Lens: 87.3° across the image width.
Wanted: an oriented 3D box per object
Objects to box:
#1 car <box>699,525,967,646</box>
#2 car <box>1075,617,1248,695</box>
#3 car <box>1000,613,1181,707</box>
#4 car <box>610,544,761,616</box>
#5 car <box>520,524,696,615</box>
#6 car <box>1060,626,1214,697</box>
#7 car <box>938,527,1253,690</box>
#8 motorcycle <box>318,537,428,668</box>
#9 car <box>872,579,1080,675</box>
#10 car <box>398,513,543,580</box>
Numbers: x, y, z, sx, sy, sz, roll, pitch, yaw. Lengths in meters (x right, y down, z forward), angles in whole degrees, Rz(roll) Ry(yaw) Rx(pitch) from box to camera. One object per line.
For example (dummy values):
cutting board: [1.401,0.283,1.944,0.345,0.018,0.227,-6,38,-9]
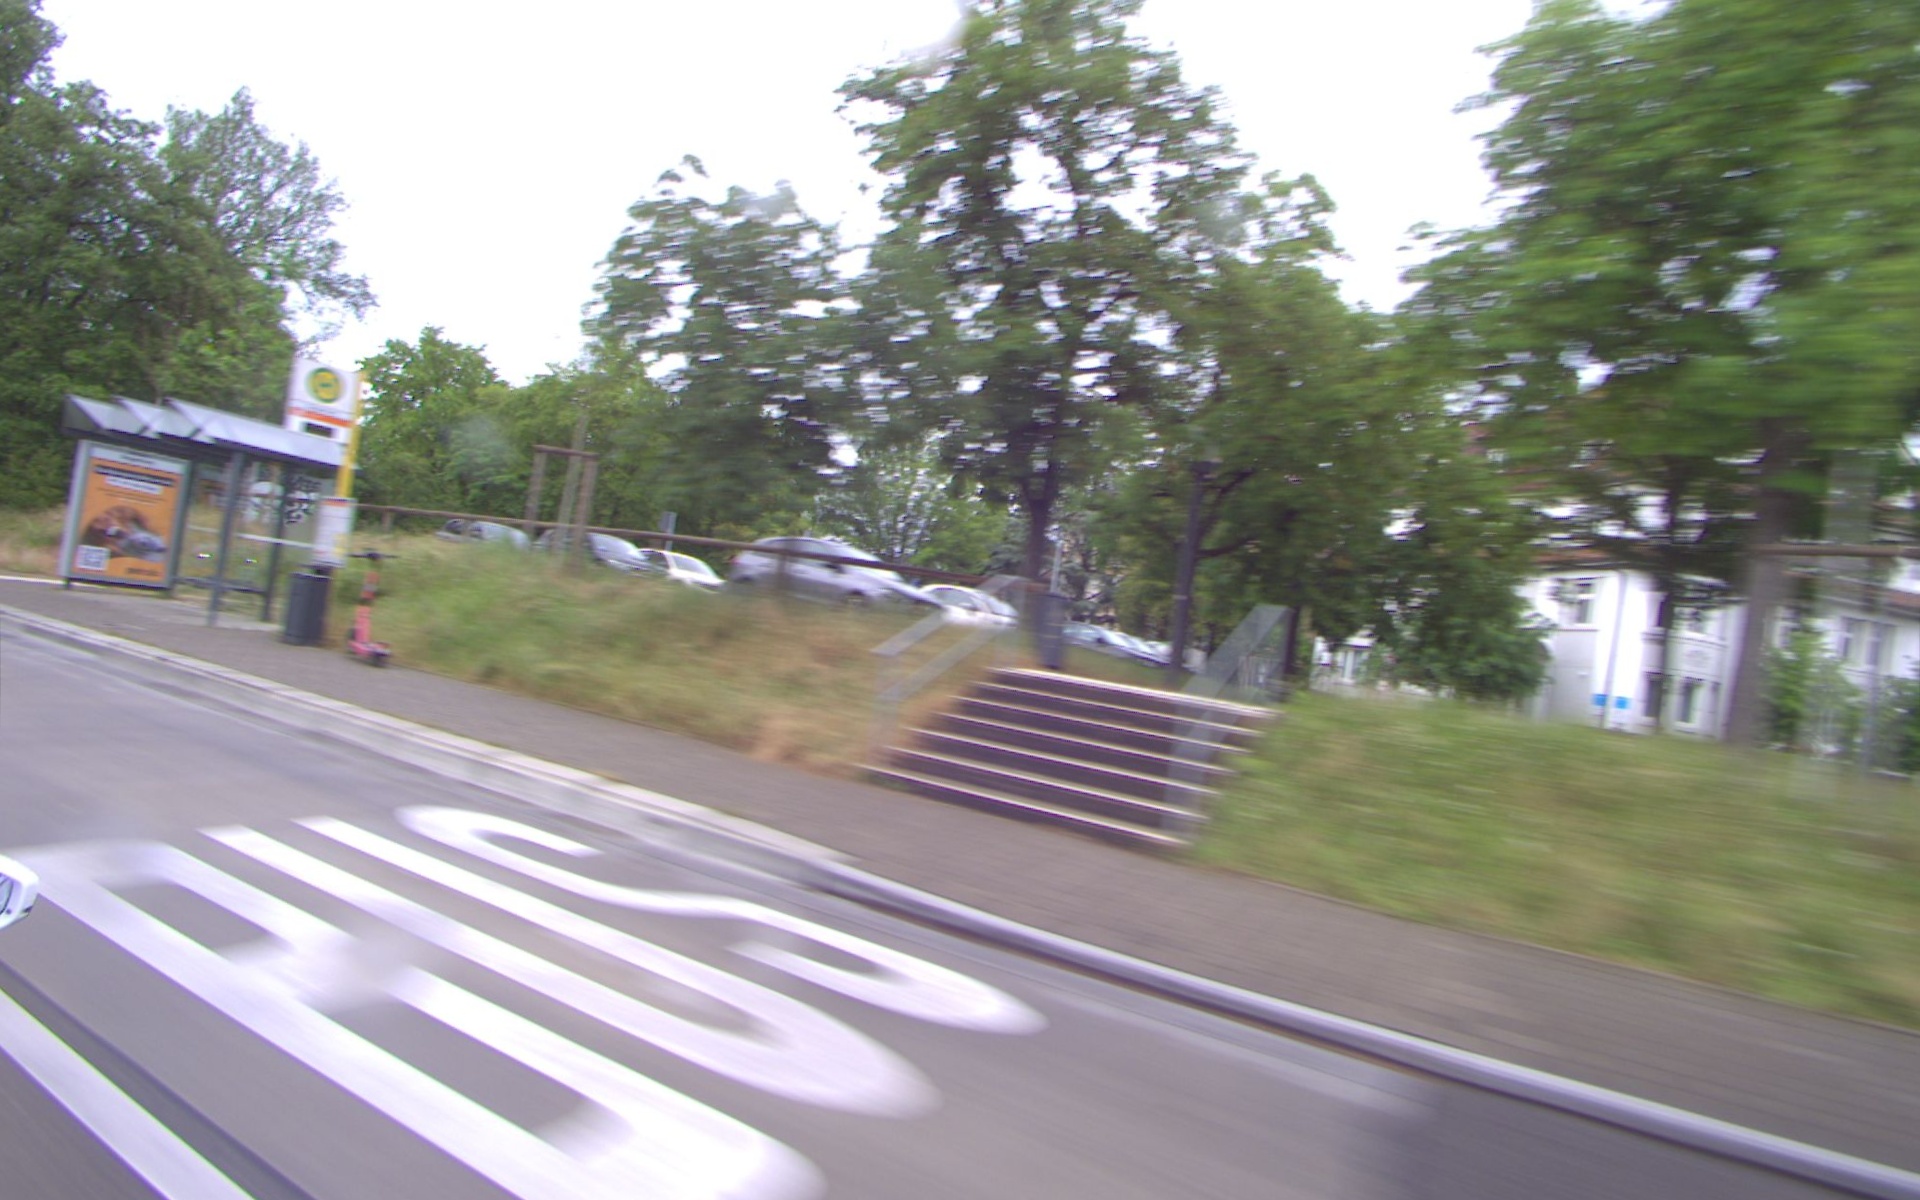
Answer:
car: [-2.268,-0.280,17.668,4.214,1.495,2.000,6,-5,32]
car: [5.359,1.492,26.968,4.006,1.496,1.888,6,-4,36]
car: [3.320,1.512,25.772,3.938,1.678,1.999,7,-5,36]
car: [-7.791,-0.591,28.441,4.007,1.495,1.889,5,-5,37]
car: [-9.254,-0.826,26.311,4.403,1.678,1.999,7,-5,36]
car: [5.312,1.841,30.335,4.006,1.495,1.890,6,-5,36]
car: [1.963,0.103,14.743,3.934,1.678,2.001,7,-5,32]
motorcycle: [-6.618,0.005,11.316,0.587,1.304,1.518,9,-2,-44]
car: [0.298,0.557,21.762,4.007,1.495,1.889,5,-5,37]
car: [-14.990,-1.658,30.707,4.710,1.495,1.889,5,-5,37]
